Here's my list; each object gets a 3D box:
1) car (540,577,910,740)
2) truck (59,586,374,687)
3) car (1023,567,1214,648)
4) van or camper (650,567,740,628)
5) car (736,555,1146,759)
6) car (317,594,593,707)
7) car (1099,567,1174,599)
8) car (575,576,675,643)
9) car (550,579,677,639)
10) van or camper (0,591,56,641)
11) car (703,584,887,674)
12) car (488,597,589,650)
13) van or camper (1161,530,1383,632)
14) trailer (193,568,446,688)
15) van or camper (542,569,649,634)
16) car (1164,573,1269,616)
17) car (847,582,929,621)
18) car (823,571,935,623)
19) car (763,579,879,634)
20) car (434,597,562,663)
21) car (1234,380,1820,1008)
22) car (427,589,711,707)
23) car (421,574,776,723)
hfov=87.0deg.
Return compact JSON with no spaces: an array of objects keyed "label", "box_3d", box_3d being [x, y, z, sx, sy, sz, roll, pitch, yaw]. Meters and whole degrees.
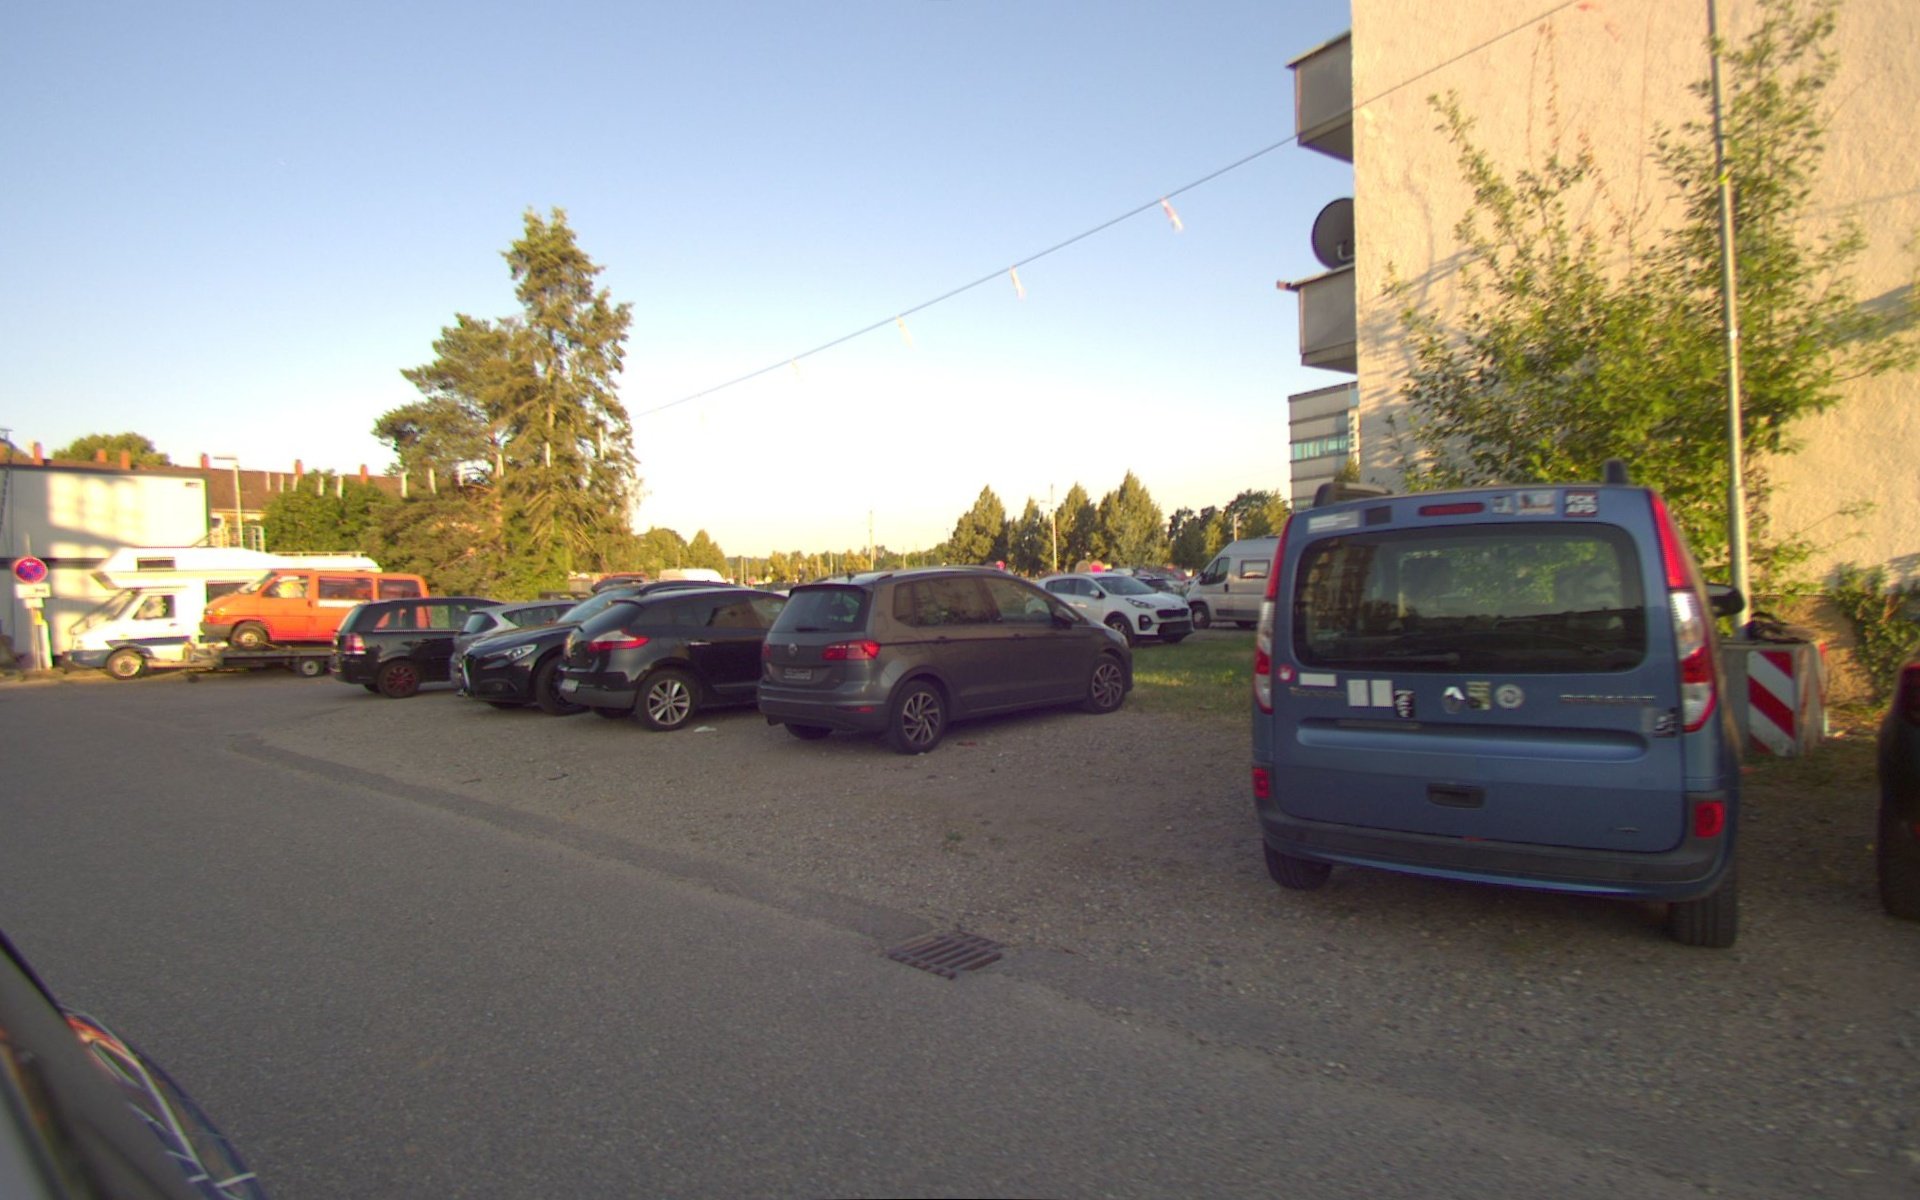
[{"label":"car","box_3d":[-2.634,0.545,11.855,3.877,1.528,1.646,-3,2,-40]},{"label":"truck","box_3d":[-18.201,0.789,25.060,2.356,2.058,5.946,-1,1,43]},{"label":"car","box_3d":[3.500,0.154,23.110,1.818,1.643,4.328,-2,1,-33]},{"label":"van or camper","box_3d":[-12.840,-0.099,48.756,2.174,2.728,5.761,-2,1,-36]},{"label":"car","box_3d":[-0.033,0.405,9.871,3.880,1.592,1.644,-3,0,-44]},{"label":"car","box_3d":[-8.788,0.788,17.775,3.986,1.632,1.852,-3,1,-40]},{"label":"car","box_3d":[9.023,-0.856,52.060,1.541,1.536,3.886,-2,1,-32]},{"label":"car","box_3d":[-12.199,0.386,36.646,1.820,2.165,4.831,-2,-2,-38]},{"label":"car","box_3d":[-9.764,0.245,28.380,1.822,1.534,3.941,-3,1,-44]},{"label":"van or camper","box_3d":[-55.199,1.062,56.717,2.406,2.659,6.387,-2,3,42]},{"label":"car","box_3d":[-3.361,0.524,20.032,1.820,1.534,4.160,-2,1,-37]},{"label":"car","box_3d":[-14.597,0.850,34.872,1.820,1.580,4.829,-2,-2,-40]},{"label":"van or camper","box_3d":[8.018,-0.460,26.684,1.818,2.411,5.699,-2,1,-33]},{"label":"trailer","box_3d":[-15.186,0.537,24.163,4.735,2.450,2.137,-4,3,-43]},{"label":"van or camper","box_3d":[-16.948,0.081,46.871,5.800,2.791,2.231,-1,1,43]},{"label":"car","box_3d":[11.827,-0.236,46.939,1.656,1.856,4.851,-2,1,-32]},{"label":"car","box_3d":[-3.958,0.067,54.548,2.023,1.951,5.119,-2,1,-35]},{"label":"car","box_3d":[-2.880,-0.104,35.394,1.822,1.681,3.942,-2,1,-43]},{"label":"car","box_3d":[-4.630,0.215,33.413,1.822,1.681,3.942,-2,1,-43]},{"label":"car","box_3d":[-12.235,0.757,26.686,1.822,1.534,3.941,-3,1,-44]},{"label":"car","box_3d":[2.923,0.212,5.212,1.743,1.925,3.895,-2,2,33]},{"label":"car","box_3d":[-6.314,0.710,16.541,3.877,1.532,1.812,-4,0,-40]},{"label":"car","box_3d":[-4.673,0.538,13.491,1.821,1.640,4.044,-3,0,43]}]
